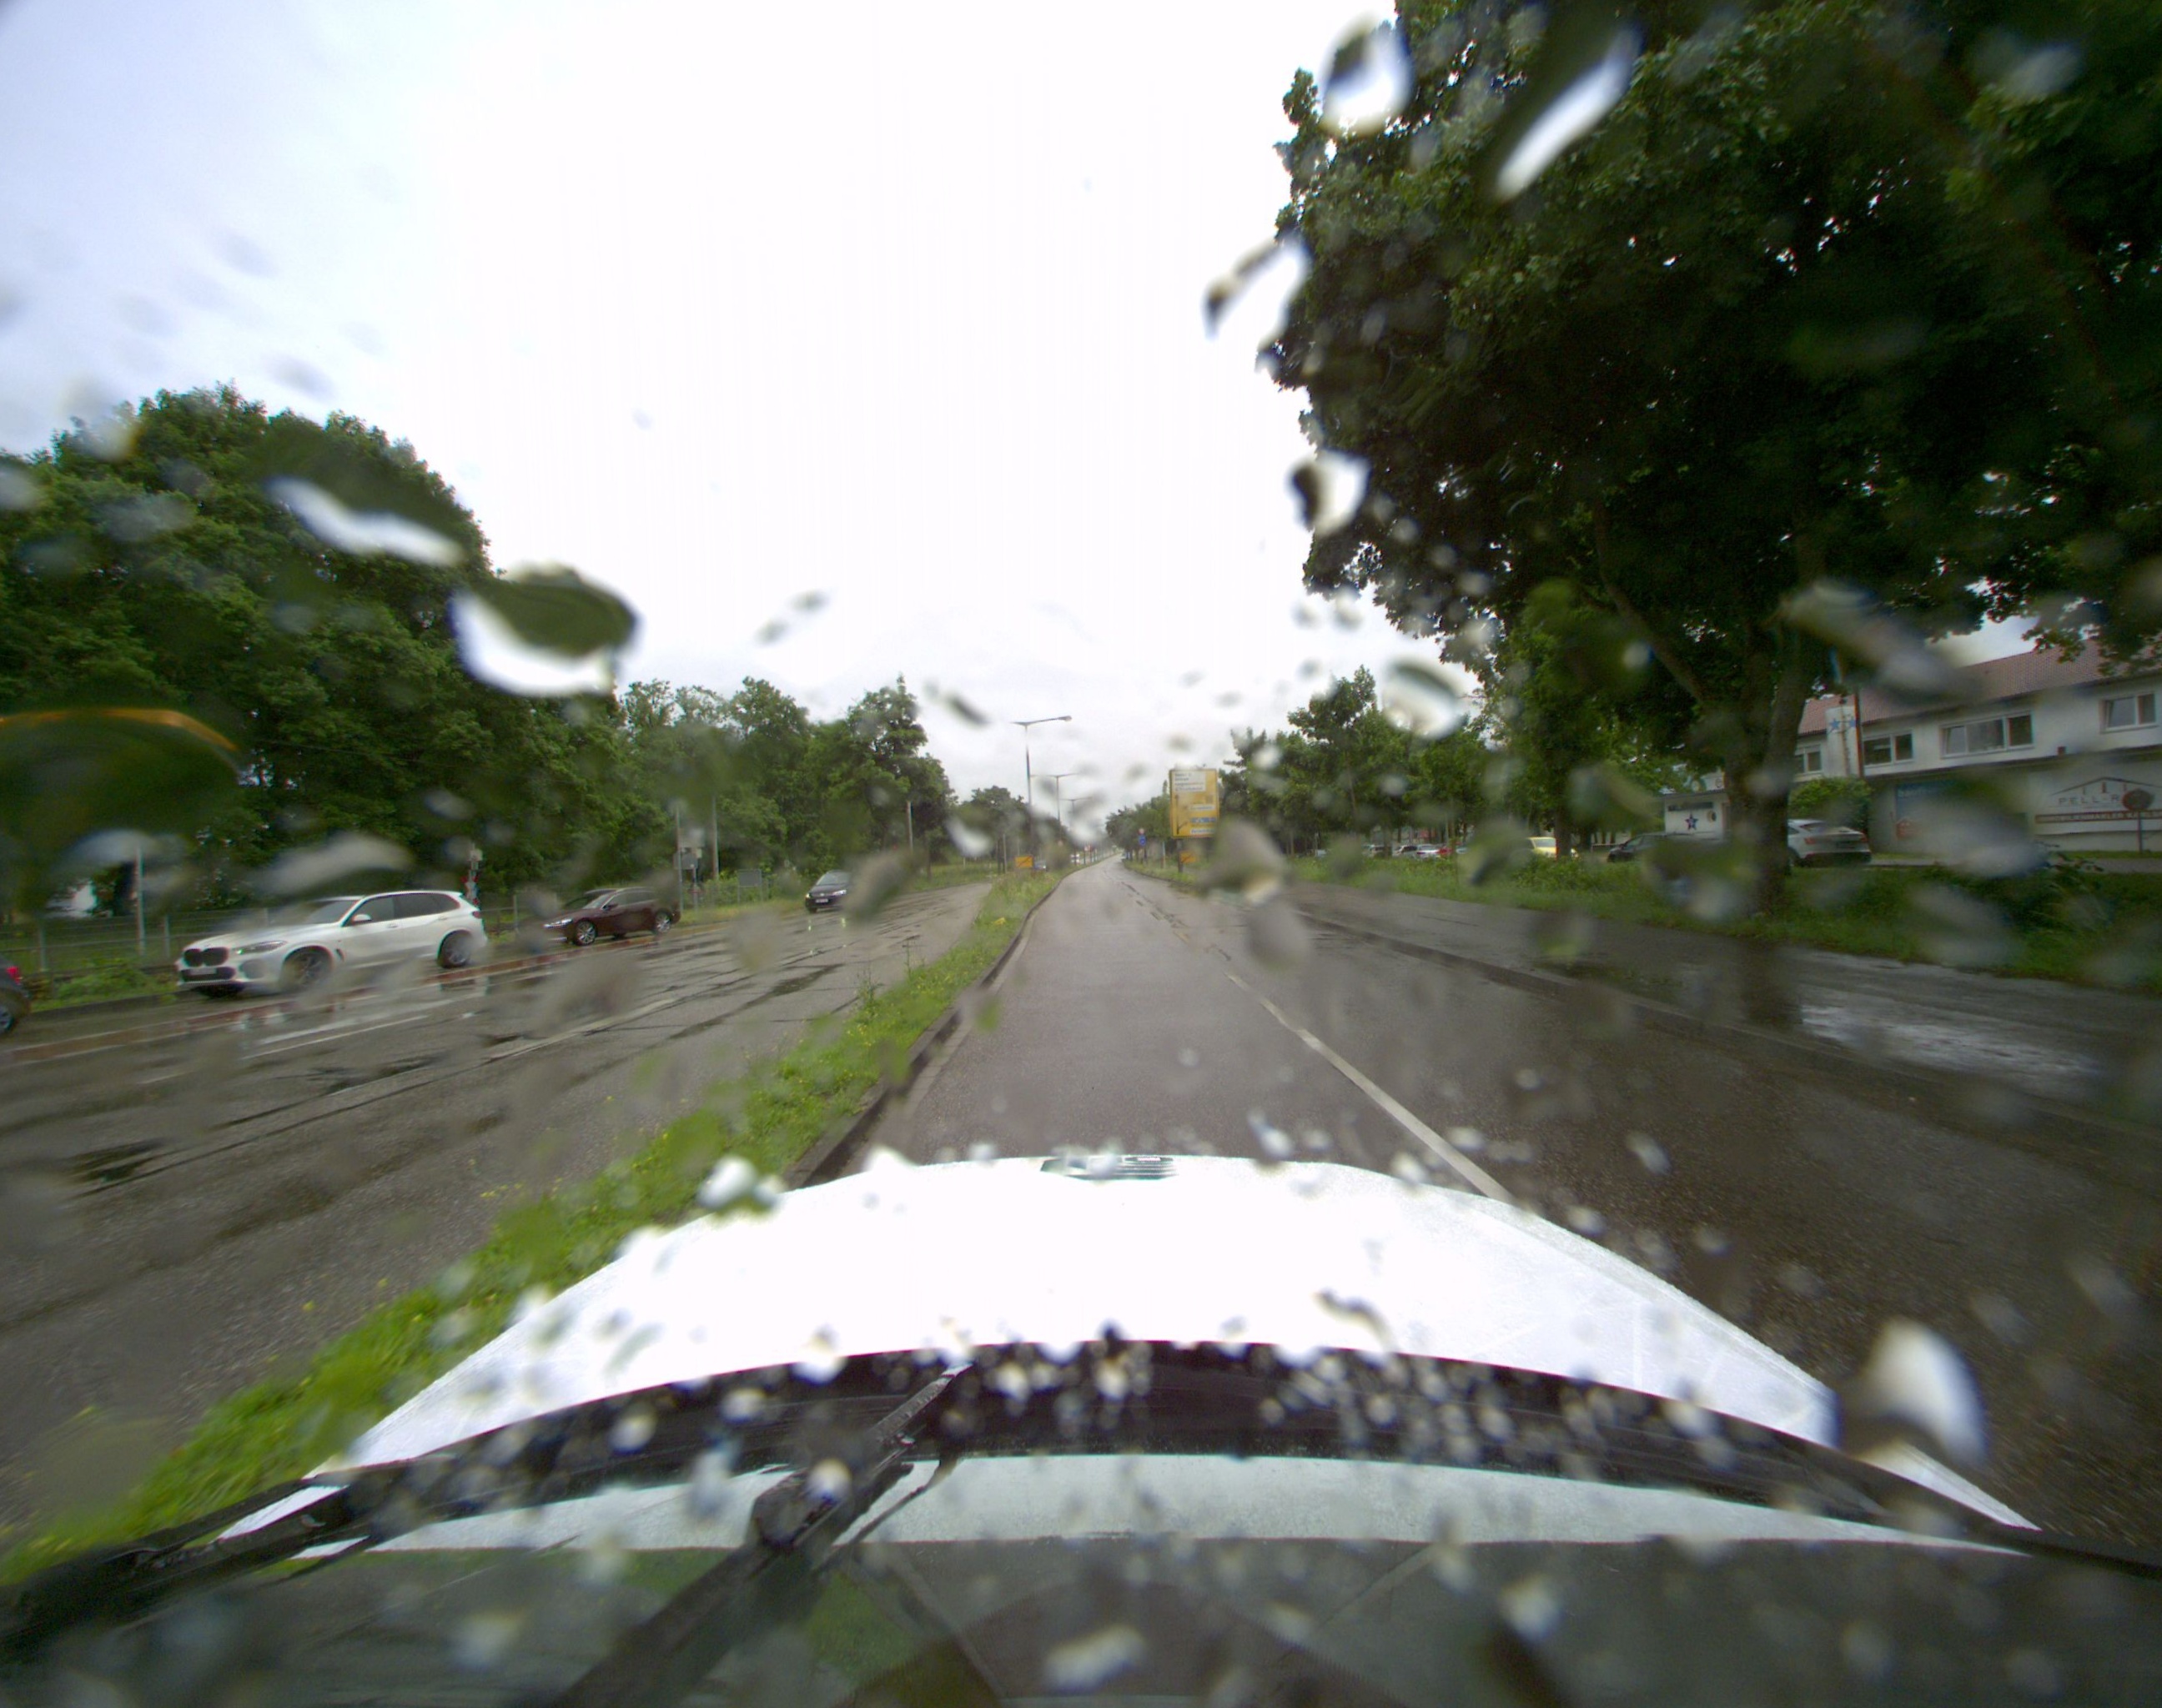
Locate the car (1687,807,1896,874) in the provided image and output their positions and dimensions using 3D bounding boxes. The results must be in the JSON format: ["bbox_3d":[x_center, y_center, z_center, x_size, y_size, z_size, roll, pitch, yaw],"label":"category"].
[{"bbox_3d":[21.165,-0.330,24.607,1.987,1.717,4.878,-3,-1,0],"label":"car"}]

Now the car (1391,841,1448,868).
[{"bbox_3d":[22.582,0.056,54.521,1.986,1.625,4.644,-3,-1,2],"label":"car"}]

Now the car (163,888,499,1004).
[{"bbox_3d":[-14.612,1.682,16.372,1.982,1.827,4.781,-1,-1,8],"label":"car"}]

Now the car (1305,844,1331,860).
[{"bbox_3d":[23.975,-0.183,82.479,1.737,1.445,4.127,-3,1,5],"label":"car"}]

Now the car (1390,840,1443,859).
[{"bbox_3d":[32.302,-0.428,78.449,4.322,1.725,1.944,-1,-1,-2],"label":"car"}]

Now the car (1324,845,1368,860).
[{"bbox_3d":[31.228,-0.186,95.942,4.560,1.645,1.997,-1,-1,-4],"label":"car"}]

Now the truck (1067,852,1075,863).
[{"bbox_3d":[-2.744,0.869,224.460,2.131,2.843,5.073,-4,-1,1],"label":"truck"}]

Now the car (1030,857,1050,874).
[{"bbox_3d":[-4.447,1.205,88.870,1.737,1.650,4.137,-5,0,1],"label":"car"}]

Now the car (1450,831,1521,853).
[{"bbox_3d":[29.891,-0.889,60.276,4.322,1.503,1.923,-1,-1,-2],"label":"car"}]

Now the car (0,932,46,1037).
[{"bbox_3d":[-15.407,1.835,9.581,1.581,1.378,3.688,-5,-1,2],"label":"car"}]

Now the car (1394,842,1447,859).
[{"bbox_3d":[31.071,-0.338,74.628,4.177,1.484,1.759,-1,-1,-2],"label":"car"}]

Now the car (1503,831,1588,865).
[{"bbox_3d":[21.633,-0.250,38.119,1.632,1.486,4.072,-1,-1,0],"label":"car"}]

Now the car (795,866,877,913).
[{"bbox_3d":[-10.160,1.418,34.066,1.699,1.641,4.336,-4,0,5],"label":"car"}]

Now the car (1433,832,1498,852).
[{"bbox_3d":[30.861,-0.925,65.417,4.322,1.484,1.944,-1,-1,-2],"label":"car"}]

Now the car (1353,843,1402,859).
[{"bbox_3d":[31.800,-0.304,87.474,4.547,1.558,1.948,-1,-1,5],"label":"car"}]

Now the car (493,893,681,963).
[{"bbox_3d":[-13.862,2.026,23.224,1.858,1.485,4.524,-3,0,14],"label":"car"}]

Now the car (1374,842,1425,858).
[{"bbox_3d":[32.006,-0.379,81.932,4.322,1.558,1.944,-1,-1,-2],"label":"car"}]

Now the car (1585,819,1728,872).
[{"bbox_3d":[21.290,-0.255,30.412,1.987,1.717,4.641,-3,-1,0],"label":"car"}]
